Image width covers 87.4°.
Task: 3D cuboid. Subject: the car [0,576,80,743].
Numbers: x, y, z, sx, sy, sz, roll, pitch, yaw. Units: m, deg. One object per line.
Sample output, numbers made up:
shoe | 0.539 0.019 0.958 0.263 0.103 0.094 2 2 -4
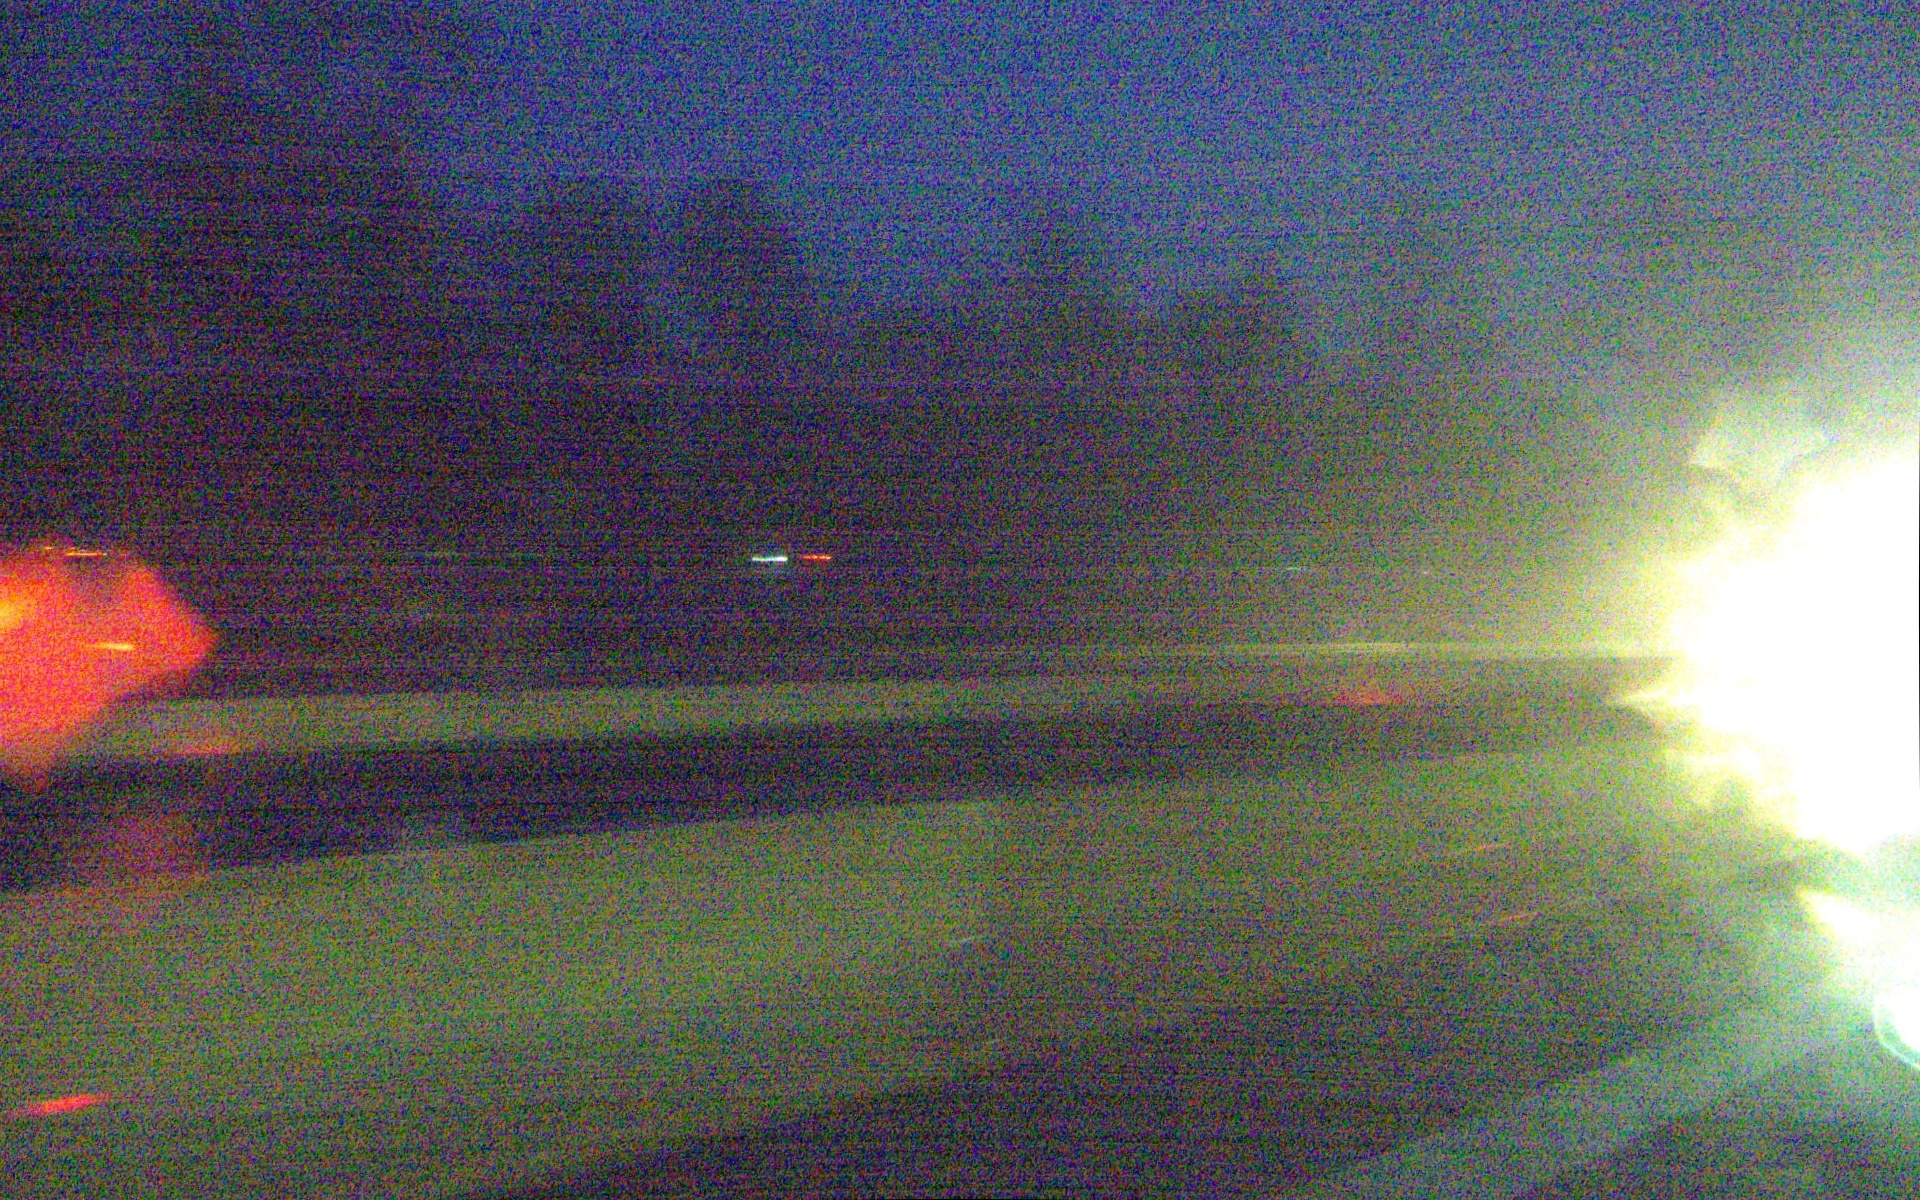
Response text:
car | -12.588 0.604 10.901 4.239 1.743 1.983 1 3 -31

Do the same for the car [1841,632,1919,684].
car | 29.866 1.795 31.703 4.238 1.425 1.795 1 3 -30
